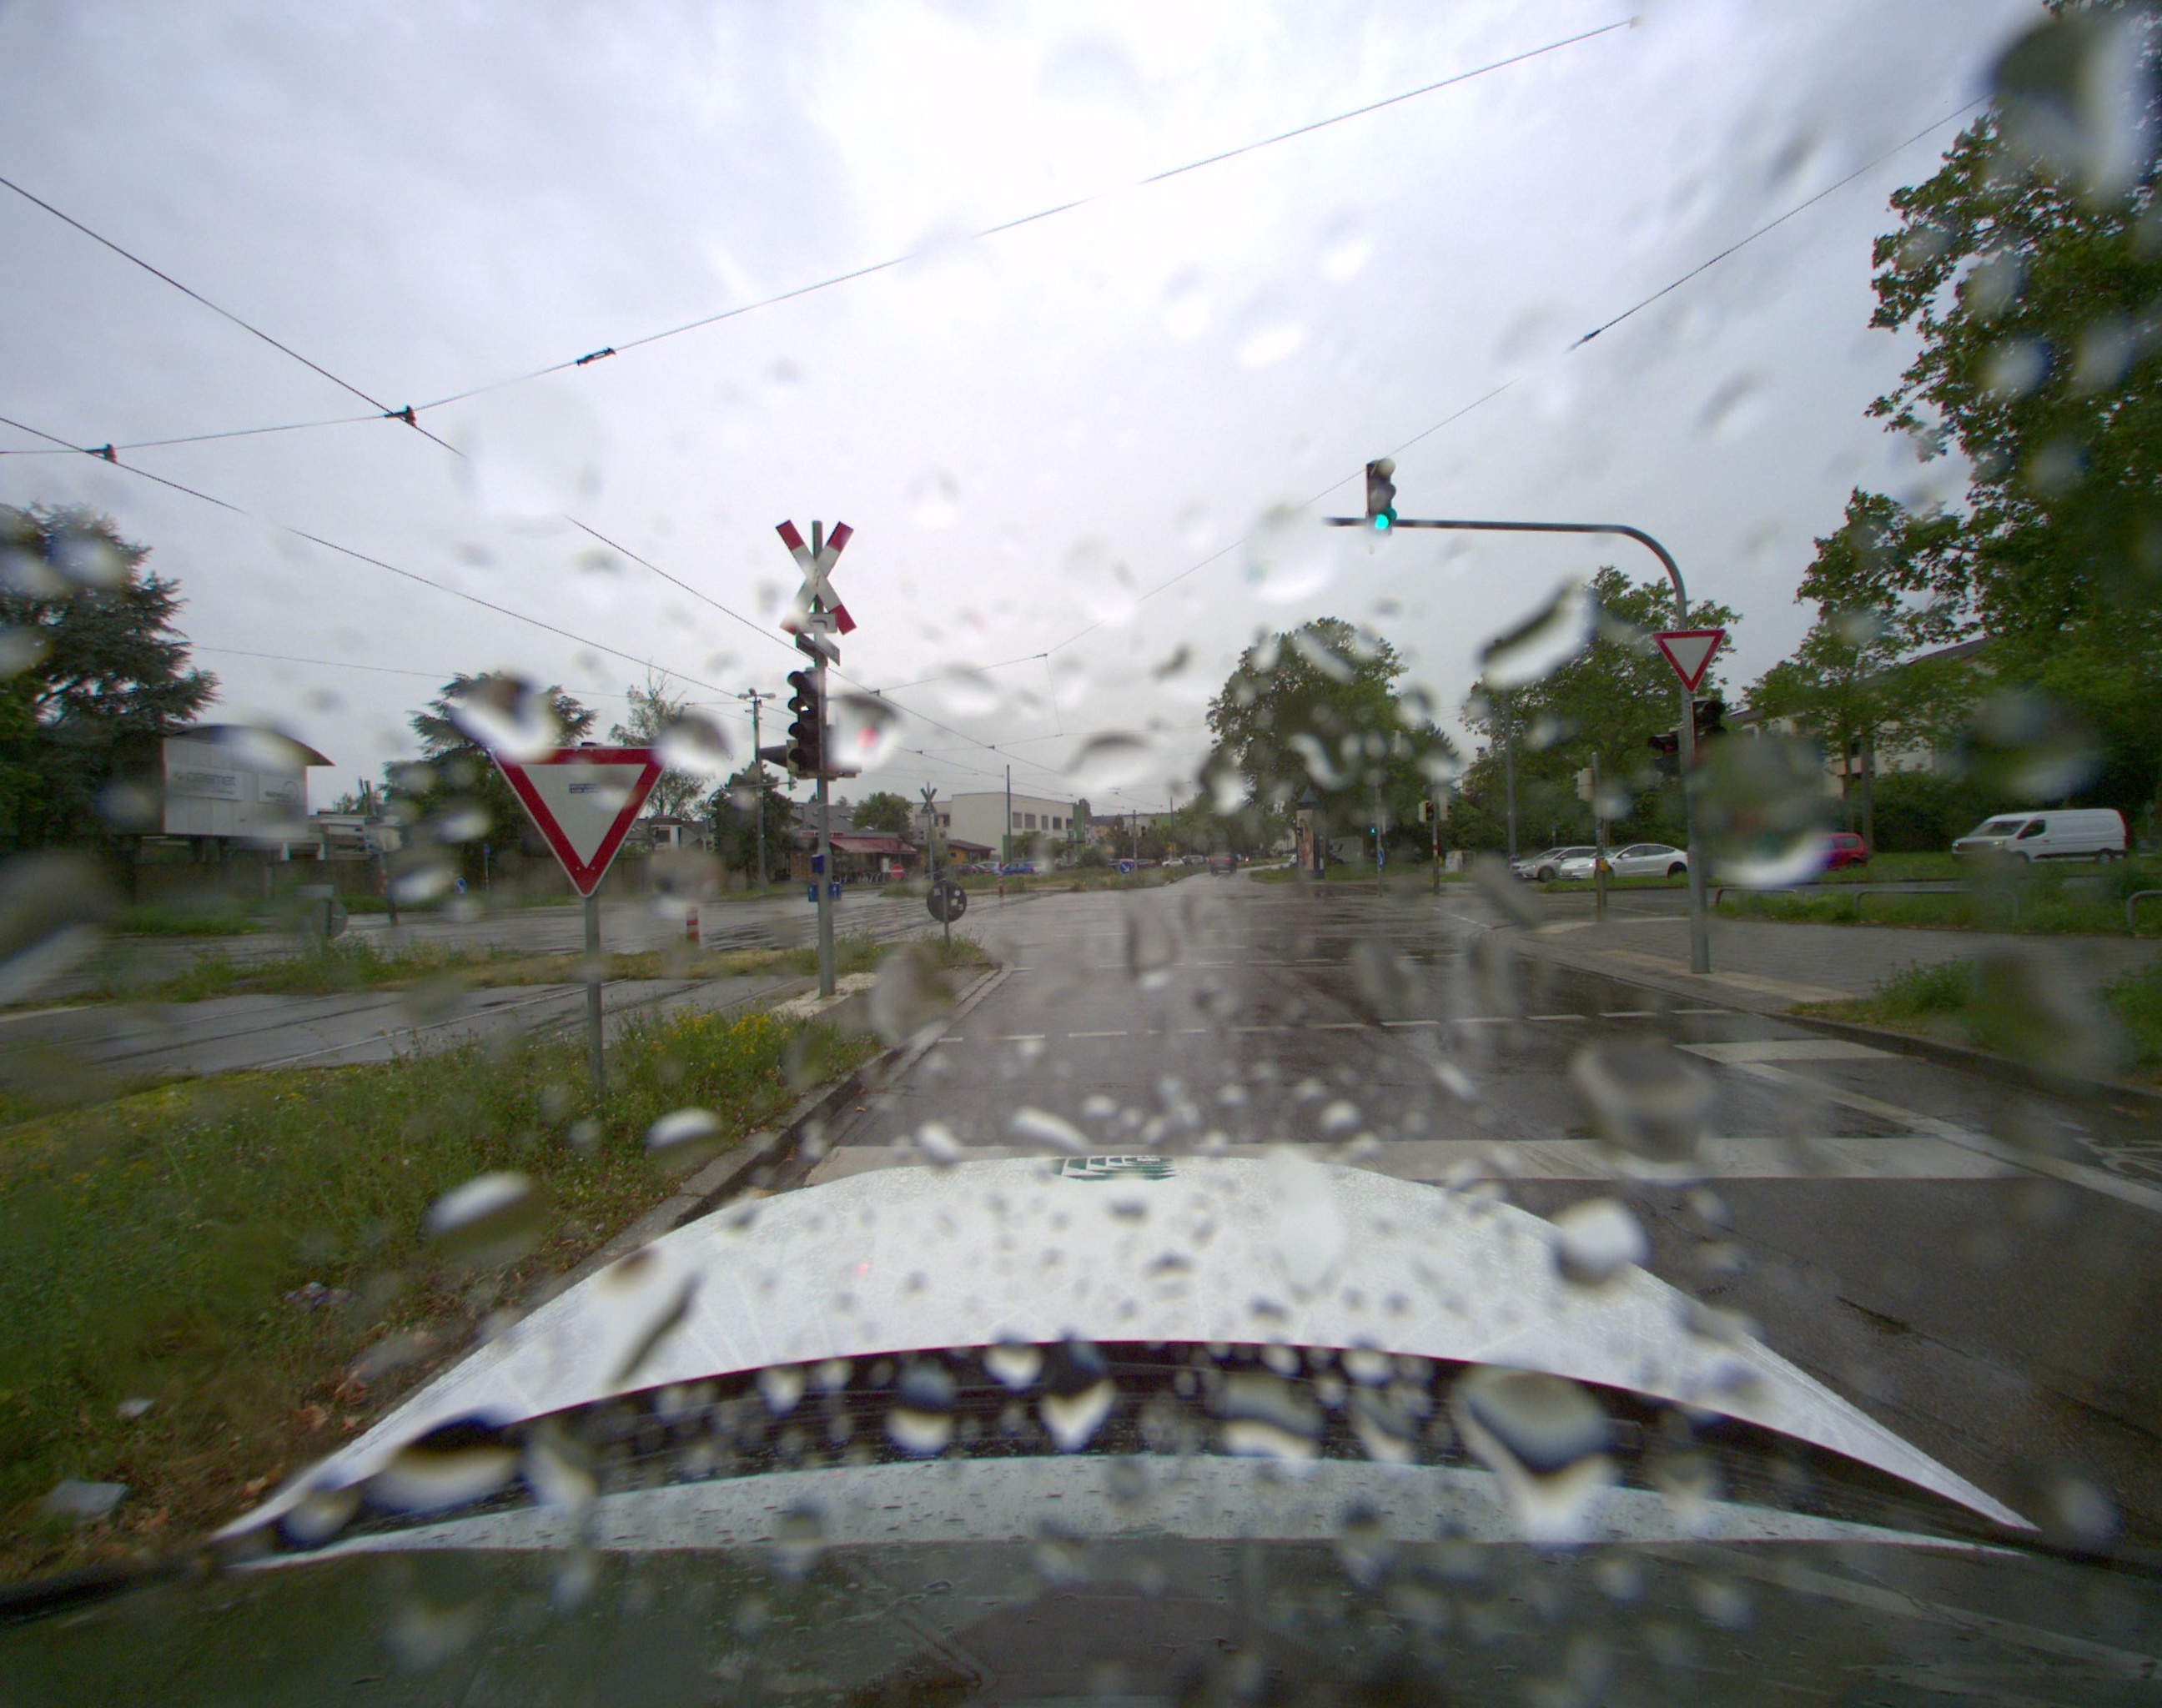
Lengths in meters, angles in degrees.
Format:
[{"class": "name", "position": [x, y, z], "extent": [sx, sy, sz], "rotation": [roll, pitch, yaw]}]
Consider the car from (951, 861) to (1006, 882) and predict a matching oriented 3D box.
[{"class": "car", "position": [-8.169, 1.412, 65.147], "extent": [3.966, 1.582, 1.862], "rotation": [-2, -1, 6]}]

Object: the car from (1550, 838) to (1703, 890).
[{"class": "car", "position": [20.478, 0.368, 30.684], "extent": [4.585, 1.828, 1.931], "rotation": [0, -1, -5]}]

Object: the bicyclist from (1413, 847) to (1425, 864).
[{"class": "bicyclist", "position": [28.313, 0.155, 68.183], "extent": [0.854, 1.425, 0.961], "rotation": [-1, -1, 18]}]

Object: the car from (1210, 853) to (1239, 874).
[{"class": "car", "position": [11.915, 0.762, 67.417], "extent": [1.791, 1.686, 3.930], "rotation": [-1, -1, 18]}]

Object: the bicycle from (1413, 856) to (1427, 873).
[{"class": "bicycle", "position": [28.190, 0.884, 67.774], "extent": [0.854, 1.425, 2.716], "rotation": [-1, -1, 18]}]

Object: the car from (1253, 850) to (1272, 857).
[{"class": "car", "position": [44.067, -0.131, 197.910], "extent": [3.977, 1.832, 1.998], "rotation": [0, -1, -3]}]

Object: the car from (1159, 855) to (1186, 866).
[{"class": "car", "position": [14.228, 0.958, 126.642], "extent": [3.772, 1.702, 1.832], "rotation": [0, -1, -8]}]

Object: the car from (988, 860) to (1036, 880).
[{"class": "car", "position": [-5.958, 1.364, 70.095], "extent": [3.986, 1.582, 1.924], "rotation": [-2, -1, -9]}]

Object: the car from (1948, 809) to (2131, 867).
[{"class": "car", "position": [40.720, -0.662, 34.693], "extent": [5.589, 2.392, 1.999], "rotation": [0, -1, -2]}]

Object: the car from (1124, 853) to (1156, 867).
[{"class": "car", "position": [7.946, 0.847, 109.945], "extent": [3.980, 1.887, 1.997], "rotation": [0, -1, -5]}]

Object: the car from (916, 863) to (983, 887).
[{"class": "car", "position": [-9.553, 1.516, 59.378], "extent": [4.459, 1.418, 1.860], "rotation": [-3, -1, 3]}]

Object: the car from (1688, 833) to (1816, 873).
[{"class": "car", "position": [28.200, -0.039, 34.295], "extent": [4.048, 1.607, 1.788], "rotation": [0, -1, -5]}]

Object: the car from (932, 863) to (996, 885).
[{"class": "car", "position": [-8.846, 1.532, 61.717], "extent": [4.478, 1.418, 1.860], "rotation": [-3, -1, 3]}]

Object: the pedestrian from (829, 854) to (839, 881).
[{"class": "pedestrian", "position": [-18.585, 1.019, 61.276], "extent": [0.726, 2.014, 0.789], "rotation": [0, -1, -21]}]

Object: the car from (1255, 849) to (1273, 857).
[{"class": "car", "position": [45.514, -0.305, 202.614], "extent": [3.977, 1.832, 1.998], "rotation": [0, -1, -3]}]

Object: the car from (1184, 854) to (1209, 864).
[{"class": "car", "position": [20.428, 0.857, 144.623], "extent": [3.986, 1.759, 2.004], "rotation": [0, -1, -10]}]

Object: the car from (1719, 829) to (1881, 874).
[{"class": "car", "position": [26.988, -0.101, 30.664], "extent": [4.589, 1.607, 1.790], "rotation": [0, -1, -1]}]

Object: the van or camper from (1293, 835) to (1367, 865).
[{"class": "van or camper", "position": [27.244, -0.374, 89.178], "extent": [7.359, 3.178, 3.281], "rotation": [-1, -1, 24]}]

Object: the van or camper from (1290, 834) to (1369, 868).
[{"class": "van or camper", "position": [24.465, -0.228, 80.137], "extent": [7.261, 3.178, 3.278], "rotation": [-1, -1, 20]}]

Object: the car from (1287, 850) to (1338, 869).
[{"class": "car", "position": [22.002, 0.508, 77.240], "extent": [4.405, 1.717, 2.011], "rotation": [-1, -1, 23]}]

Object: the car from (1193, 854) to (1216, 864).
[{"class": "car", "position": [23.250, 0.872, 153.524], "extent": [3.986, 1.832, 1.994], "rotation": [0, -1, -10]}]

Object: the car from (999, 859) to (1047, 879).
[{"class": "car", "position": [-5.217, 1.361, 73.210], "extent": [4.112, 1.641, 1.922], "rotation": [-1, -1, -12]}]

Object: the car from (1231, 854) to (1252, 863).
[{"class": "car", "position": [34.114, 0.952, 173.359], "extent": [3.977, 1.832, 1.998], "rotation": [0, -1, -3]}]

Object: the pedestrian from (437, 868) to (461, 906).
[{"class": "pedestrian", "position": [-30.768, 1.608, 39.655], "extent": [0.890, 1.797, 0.719], "rotation": [0, 0, -33]}]

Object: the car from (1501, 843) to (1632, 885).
[{"class": "car", "position": [20.218, 0.417, 34.014], "extent": [4.385, 1.691, 1.931], "rotation": [0, -1, -5]}]
